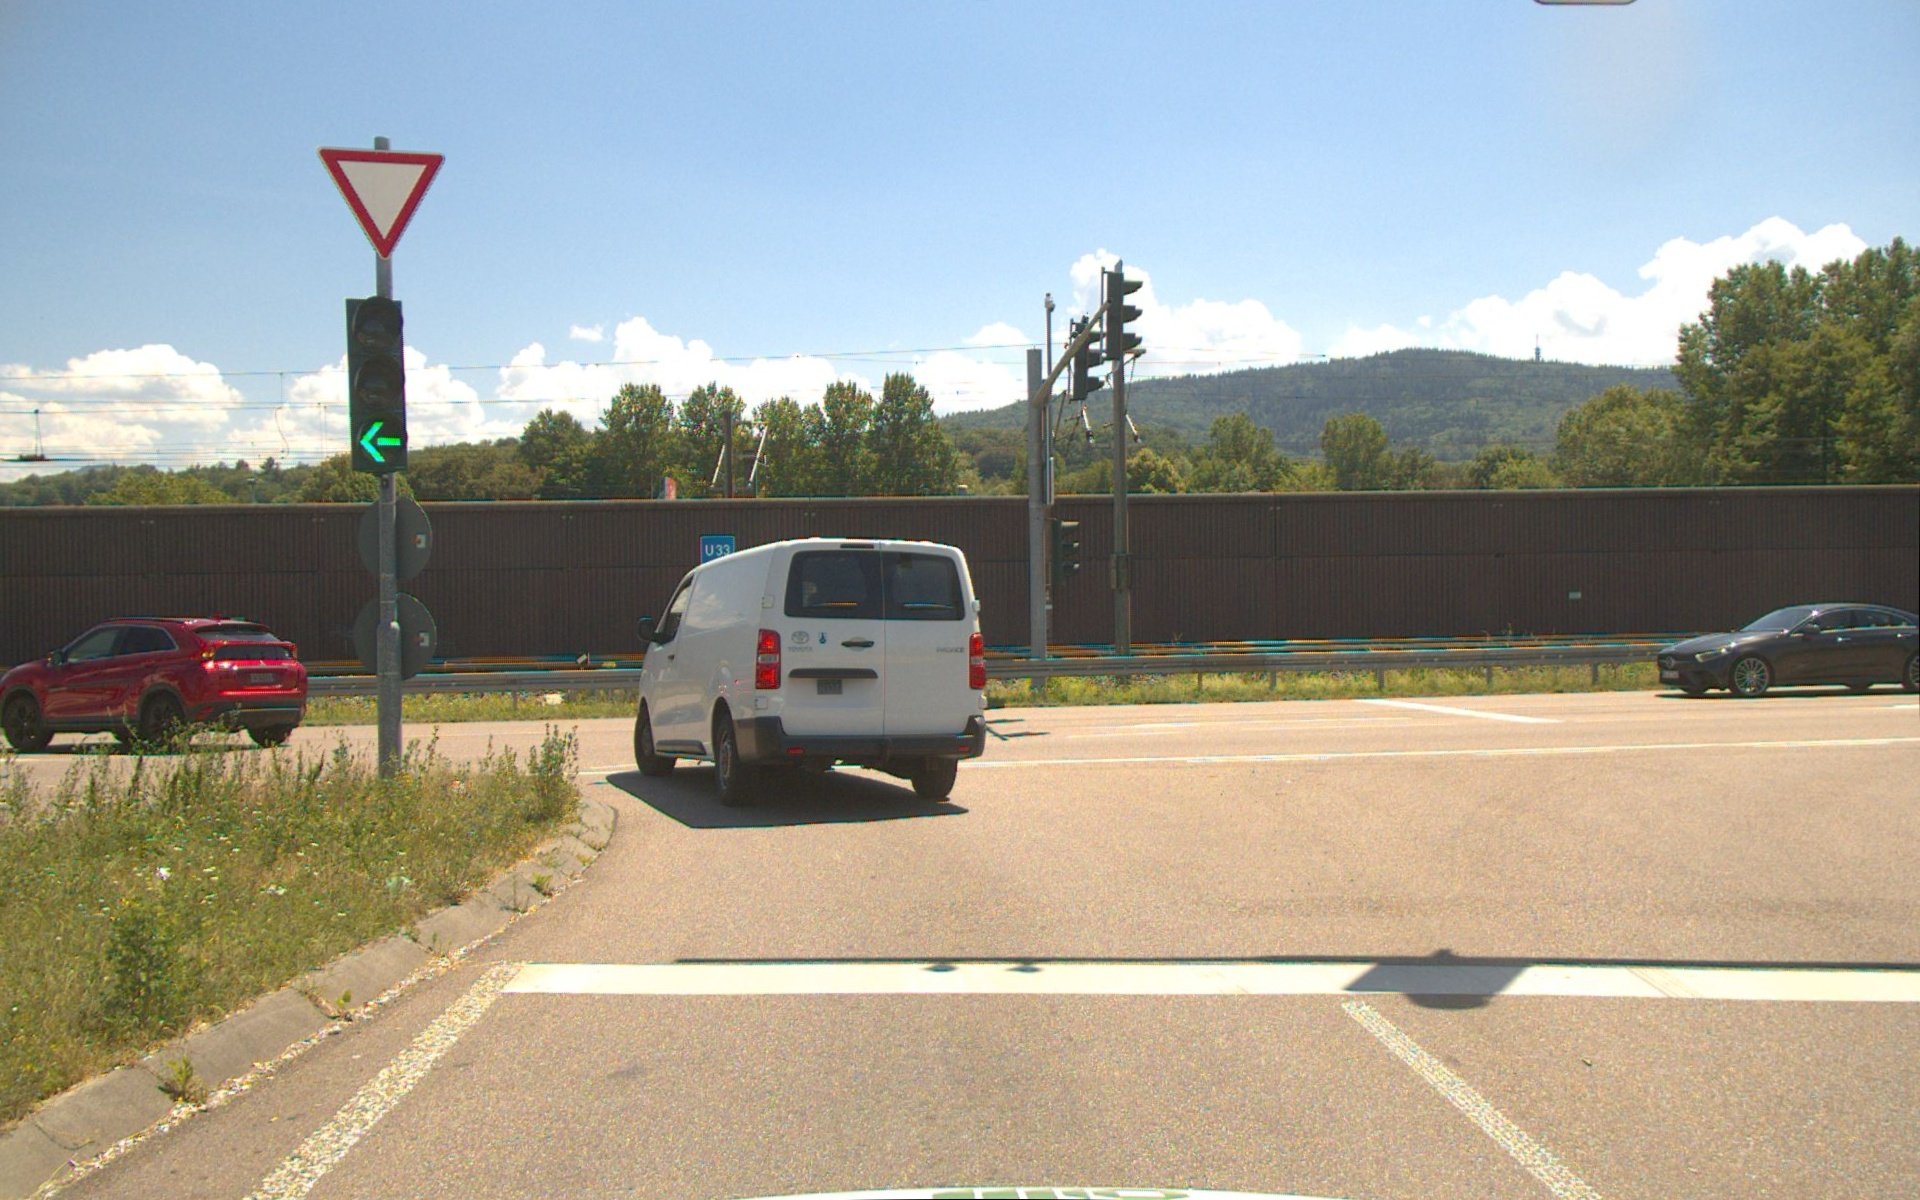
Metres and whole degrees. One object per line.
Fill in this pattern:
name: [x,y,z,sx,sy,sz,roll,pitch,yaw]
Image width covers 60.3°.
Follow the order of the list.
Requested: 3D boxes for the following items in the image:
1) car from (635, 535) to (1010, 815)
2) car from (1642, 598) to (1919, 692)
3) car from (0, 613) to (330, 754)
car: [-1.376,0.573,13.909,1.918,1.915,4.850,0,-2,-21]
car: [13.695,0.707,26.738,4.541,1.388,1.911,-1,-1,-4]
car: [-10.402,1.087,21.533,4.048,1.678,1.909,-3,-2,28]
